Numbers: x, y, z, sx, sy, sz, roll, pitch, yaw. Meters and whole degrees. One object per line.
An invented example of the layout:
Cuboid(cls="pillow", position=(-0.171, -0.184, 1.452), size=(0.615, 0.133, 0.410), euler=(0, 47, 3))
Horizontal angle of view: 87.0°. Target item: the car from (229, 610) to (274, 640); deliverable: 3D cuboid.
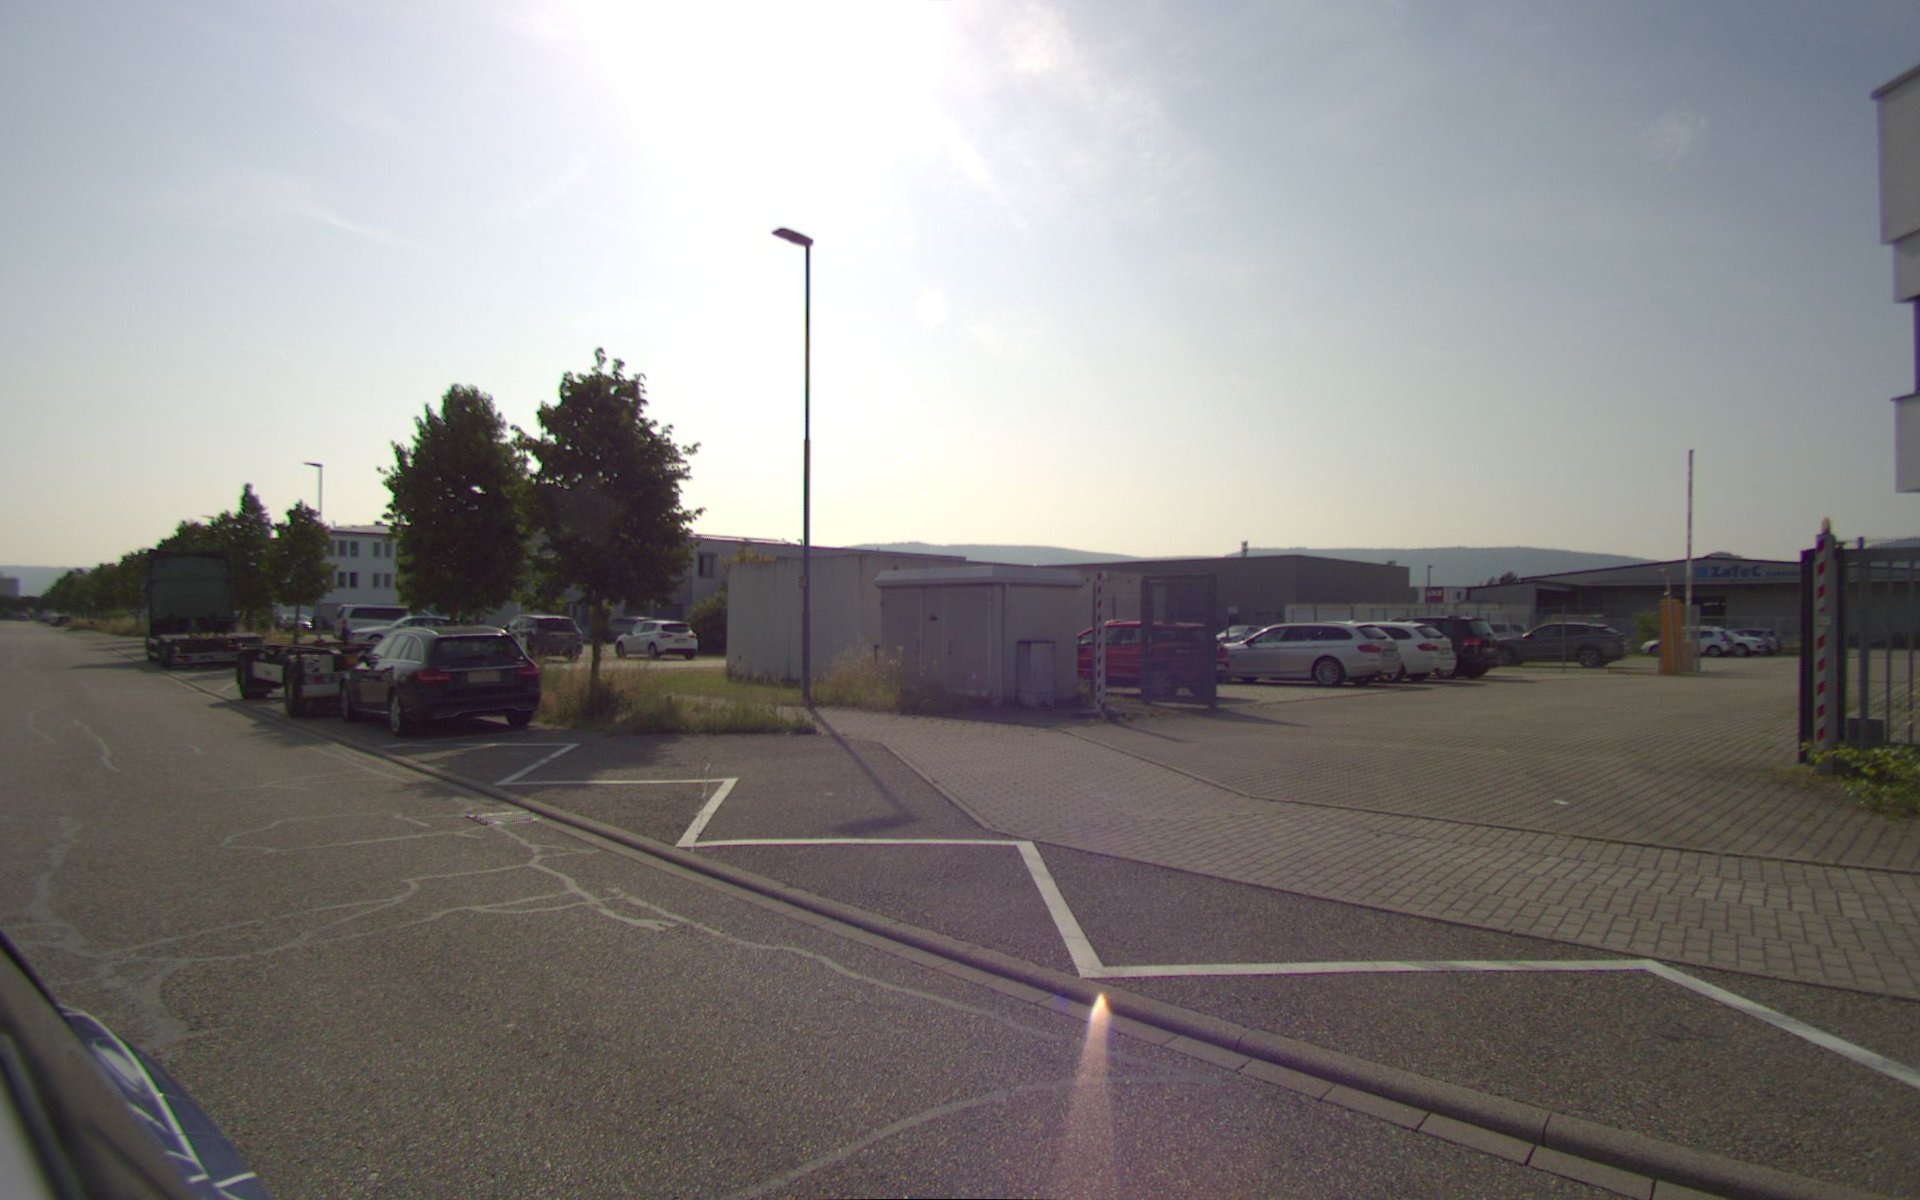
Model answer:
Cuboid(cls="car", position=(-49.673, 1.757, 70.937), size=(1.859, 2.029, 4.995), euler=(2, -3, -43))

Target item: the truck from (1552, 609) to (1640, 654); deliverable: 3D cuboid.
Cuboid(cls="truck", position=(37.615, 1.845, 59.937), size=(1.968, 2.533, 4.008), euler=(2, -2, -38))

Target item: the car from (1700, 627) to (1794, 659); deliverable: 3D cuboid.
Cuboid(cls="car", position=(45.797, 2.464, 58.922), size=(1.842, 1.782, 4.007), euler=(1, -2, -40))

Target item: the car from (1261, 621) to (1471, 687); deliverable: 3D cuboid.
Cuboid(cls="car", position=(10.104, 1.314, 25.431), size=(1.912, 1.506, 4.481), euler=(1, -3, -44))

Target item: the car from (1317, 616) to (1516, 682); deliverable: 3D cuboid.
Cuboid(cls="car", position=(12.195, 1.295, 27.262), size=(1.912, 1.616, 4.481), euler=(1, -3, -44))

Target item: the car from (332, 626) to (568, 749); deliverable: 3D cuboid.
Cuboid(cls="car", position=(-7.653, 1.157, 14.961), size=(1.970, 1.478, 4.437), euler=(-1, -1, -43))

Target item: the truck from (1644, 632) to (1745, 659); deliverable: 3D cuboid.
Cuboid(cls="truck", position=(38.970, 2.409, 53.742), size=(1.842, 1.320, 4.007), euler=(1, -2, -40))

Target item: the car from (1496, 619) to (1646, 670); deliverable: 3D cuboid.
Cuboid(cls="car", position=(22.555, 1.598, 37.462), size=(4.455, 1.741, 1.962), euler=(-1, -2, 43))

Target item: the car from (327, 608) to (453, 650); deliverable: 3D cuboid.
Cuboid(cls="car", position=(-25.973, 1.317, 46.230), size=(4.648, 1.850, 2.105), euler=(1, -2, -43))

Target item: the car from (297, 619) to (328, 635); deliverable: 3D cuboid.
Cuboid(cls="car", position=(-59.417, 2.444, 92.813), size=(1.733, 1.479, 3.923), euler=(1, -2, -42))

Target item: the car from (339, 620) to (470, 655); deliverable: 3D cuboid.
Cuboid(cls="car", position=(-24.177, 1.611, 44.162), size=(2.001, 1.442, 4.672), euler=(-1, -2, 45))

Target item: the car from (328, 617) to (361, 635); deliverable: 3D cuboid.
Cuboid(cls="car", position=(-57.462, 2.441, 94.471), size=(1.882, 1.631, 3.923), euler=(1, -2, -42))

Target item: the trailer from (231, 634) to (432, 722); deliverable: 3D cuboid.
Cuboid(cls="trailer", position=(-12.037, 1.329, 19.059), size=(2.104, 1.242, 7.167), euler=(-1, -1, -41))

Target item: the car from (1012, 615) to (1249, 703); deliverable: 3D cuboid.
Cuboid(cls="car", position=(3.256, 1.110, 19.822), size=(4.302, 1.537, 1.751), euler=(-2, -3, 41))

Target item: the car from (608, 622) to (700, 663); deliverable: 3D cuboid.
Cuboid(cls="car", position=(-12.185, 1.649, 40.184), size=(1.685, 1.527, 4.216), euler=(3, -3, -45))

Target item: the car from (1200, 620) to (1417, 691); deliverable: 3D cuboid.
Cuboid(cls="car", position=(8.102, 1.266, 23.840), size=(1.811, 1.506, 4.481), euler=(1, -3, -44))

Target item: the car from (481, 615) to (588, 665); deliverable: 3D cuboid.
Cuboid(cls="car", position=(-15.497, 1.403, 36.733), size=(1.970, 1.699, 4.702), euler=(2, -2, -45))

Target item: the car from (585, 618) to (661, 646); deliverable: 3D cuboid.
Cuboid(cls="car", position=(-19.105, 1.788, 57.311), size=(4.508, 1.492, 1.563), euler=(1, -1, 31))

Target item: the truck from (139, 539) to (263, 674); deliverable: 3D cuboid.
Cuboid(cls="truck", position=(-25.528, 0.181, 33.806), size=(2.426, 3.911, 9.815), euler=(-1, 0, -42))

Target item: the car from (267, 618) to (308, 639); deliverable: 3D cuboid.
Cuboid(cls="car", position=(-53.650, 2.225, 80.743), size=(1.919, 1.619, 4.513), euler=(1, -2, -44))

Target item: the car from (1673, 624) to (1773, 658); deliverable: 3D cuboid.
Cuboid(cls="car", position=(41.435, 2.188, 55.011), size=(1.842, 1.782, 4.007), euler=(1, -2, -40))
